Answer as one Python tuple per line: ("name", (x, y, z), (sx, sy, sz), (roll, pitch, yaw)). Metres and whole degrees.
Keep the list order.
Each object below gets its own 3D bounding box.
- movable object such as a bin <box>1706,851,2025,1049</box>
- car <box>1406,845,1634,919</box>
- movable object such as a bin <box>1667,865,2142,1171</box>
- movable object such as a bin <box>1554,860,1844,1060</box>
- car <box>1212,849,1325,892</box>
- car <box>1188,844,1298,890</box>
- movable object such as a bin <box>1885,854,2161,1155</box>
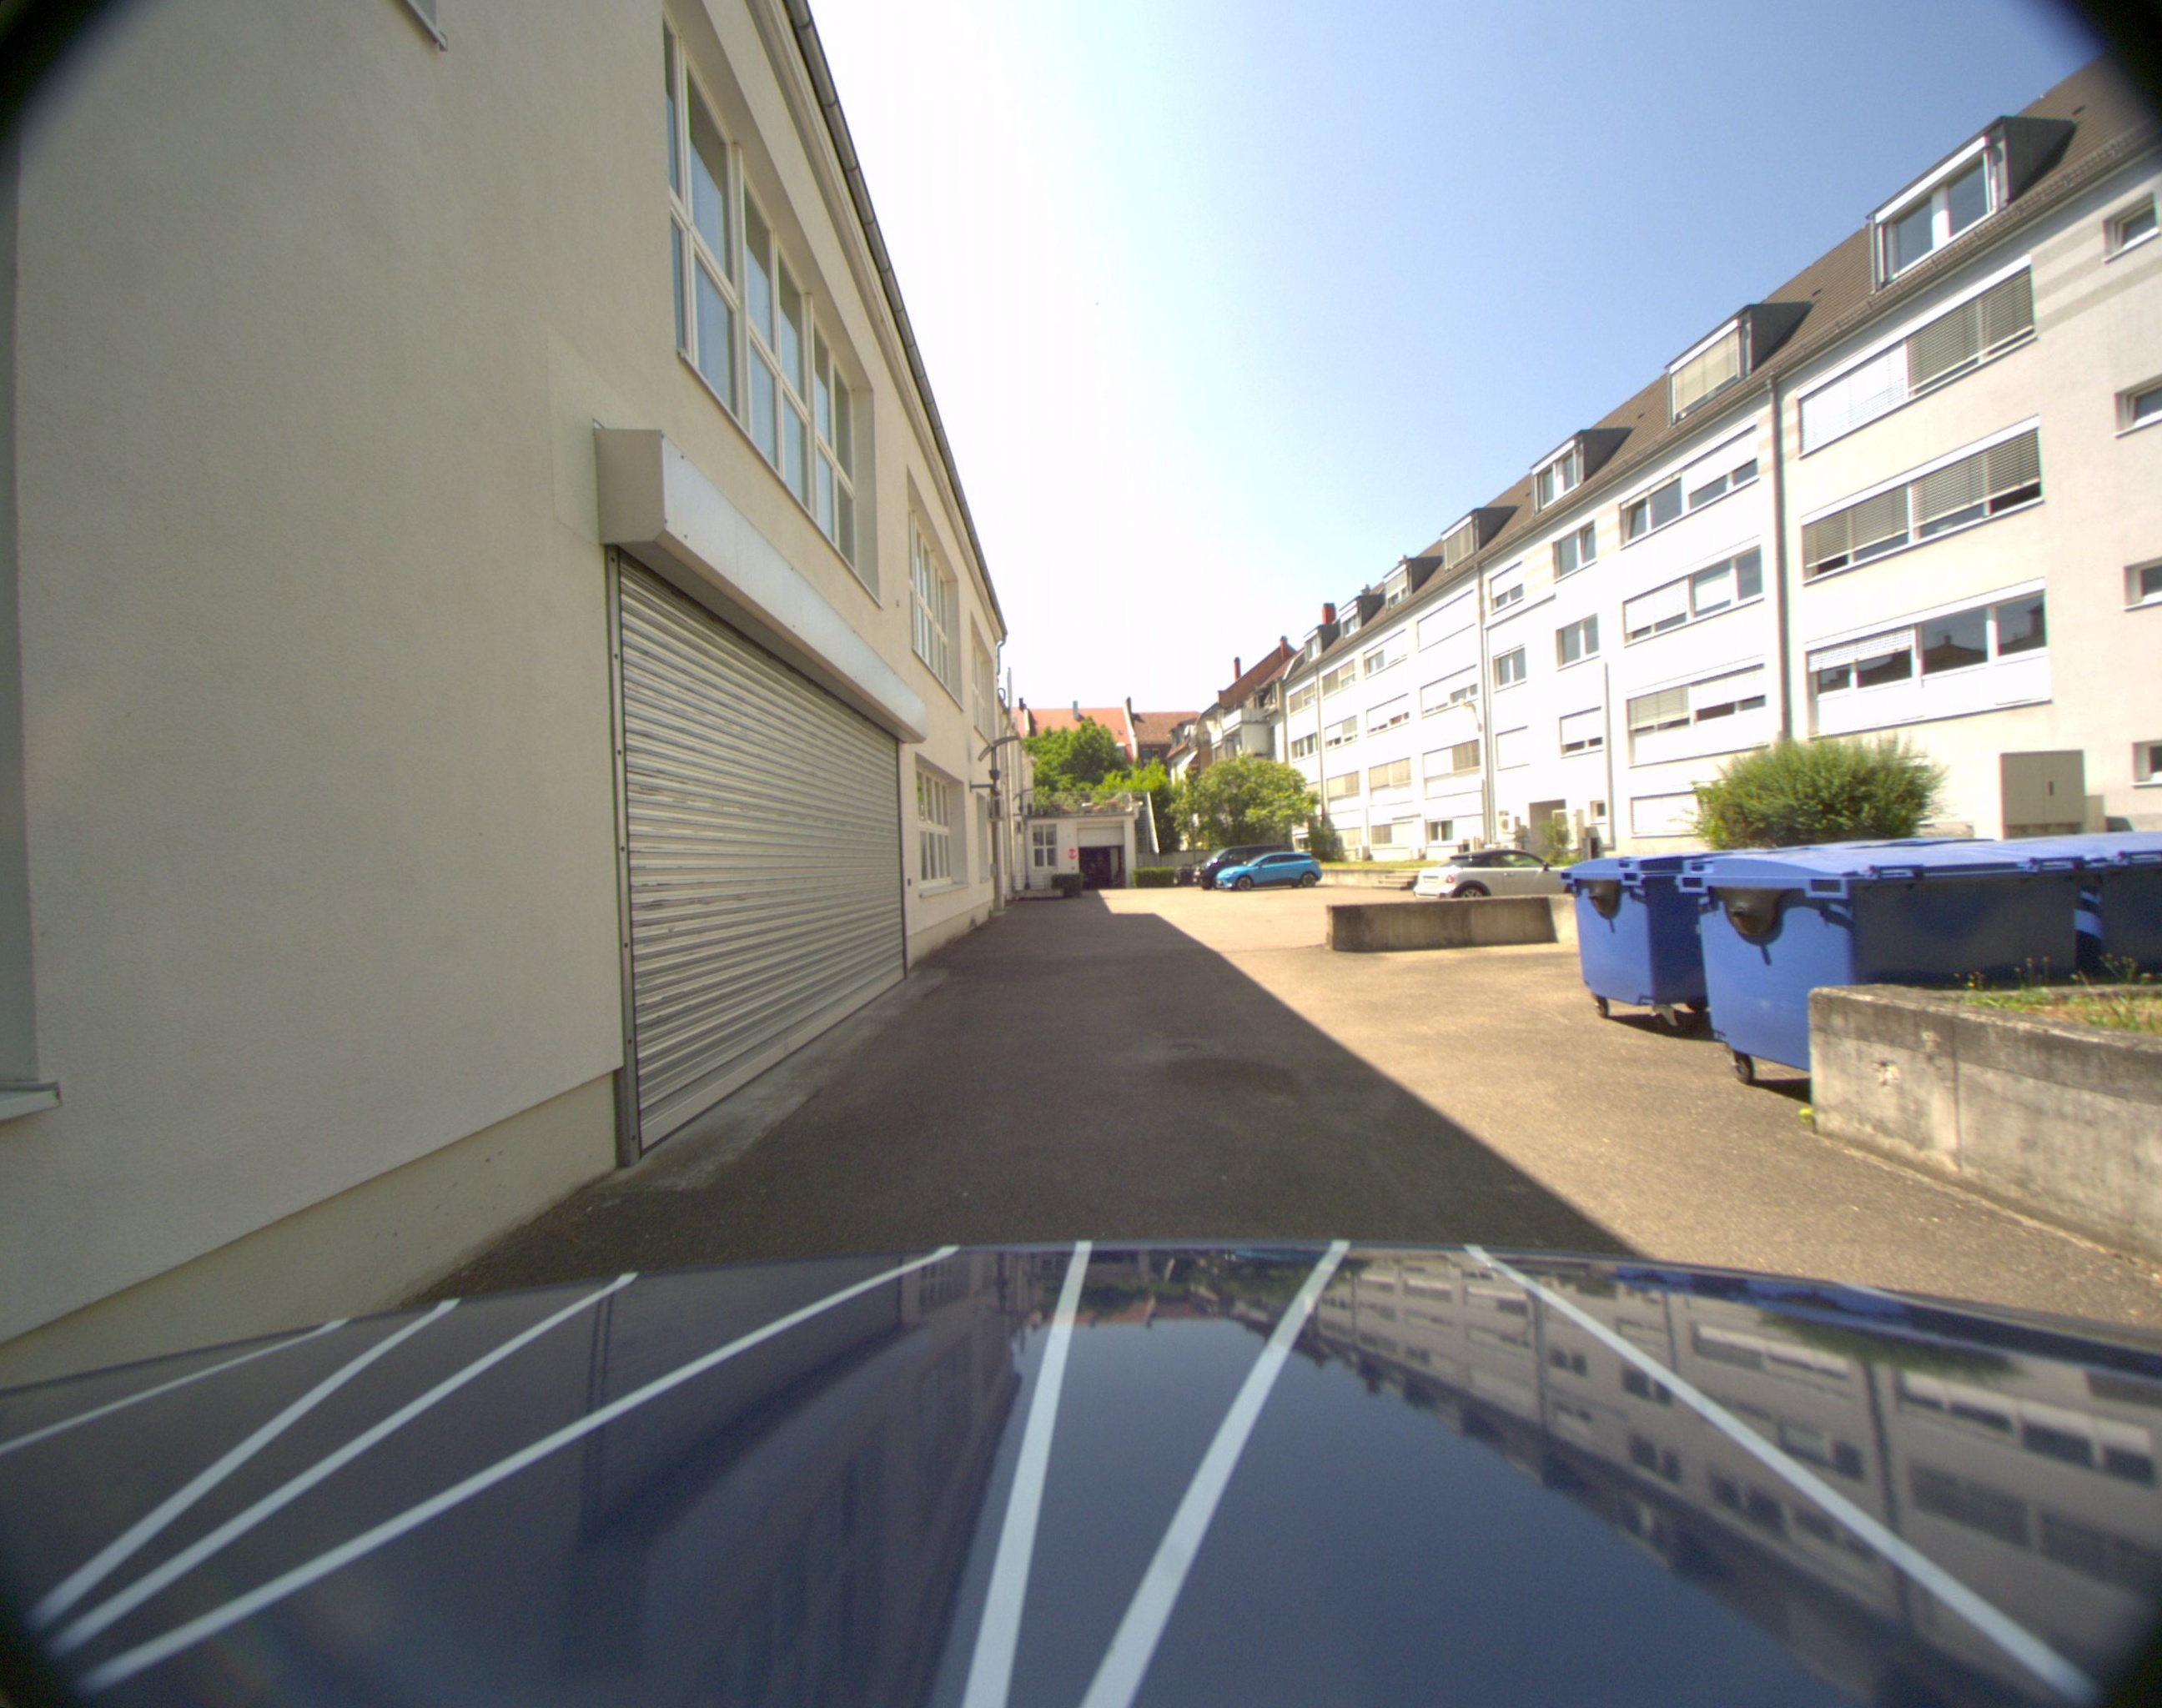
("movable object such as a bin", (5.913, 0.670, 5.837), (1.257, 1.320, 1.104), (-3, 0, 0))
("car", (9.408, 0.574, 16.467), (3.998, 1.428, 1.711), (-1, 0, -4))
("movable object such as a bin", (4.173, 0.754, 4.007), (1.257, 1.320, 1.104), (-3, 0, 0))
("movable object such as a bin", (4.602, 0.735, 5.788), (1.257, 1.320, 1.104), (-3, 0, 0))
("car", (7.752, 0.658, 31.663), (4.168, 1.544, 1.859), (-3, 0, -5))
("car", (7.232, 0.569, 34.222), (4.449, 1.821, 1.999), (-3, 1, -3))
("movable object such as a bin", (5.495, 0.689, 4.025), (1.257, 1.320, 1.104), (-3, 0, 0))
